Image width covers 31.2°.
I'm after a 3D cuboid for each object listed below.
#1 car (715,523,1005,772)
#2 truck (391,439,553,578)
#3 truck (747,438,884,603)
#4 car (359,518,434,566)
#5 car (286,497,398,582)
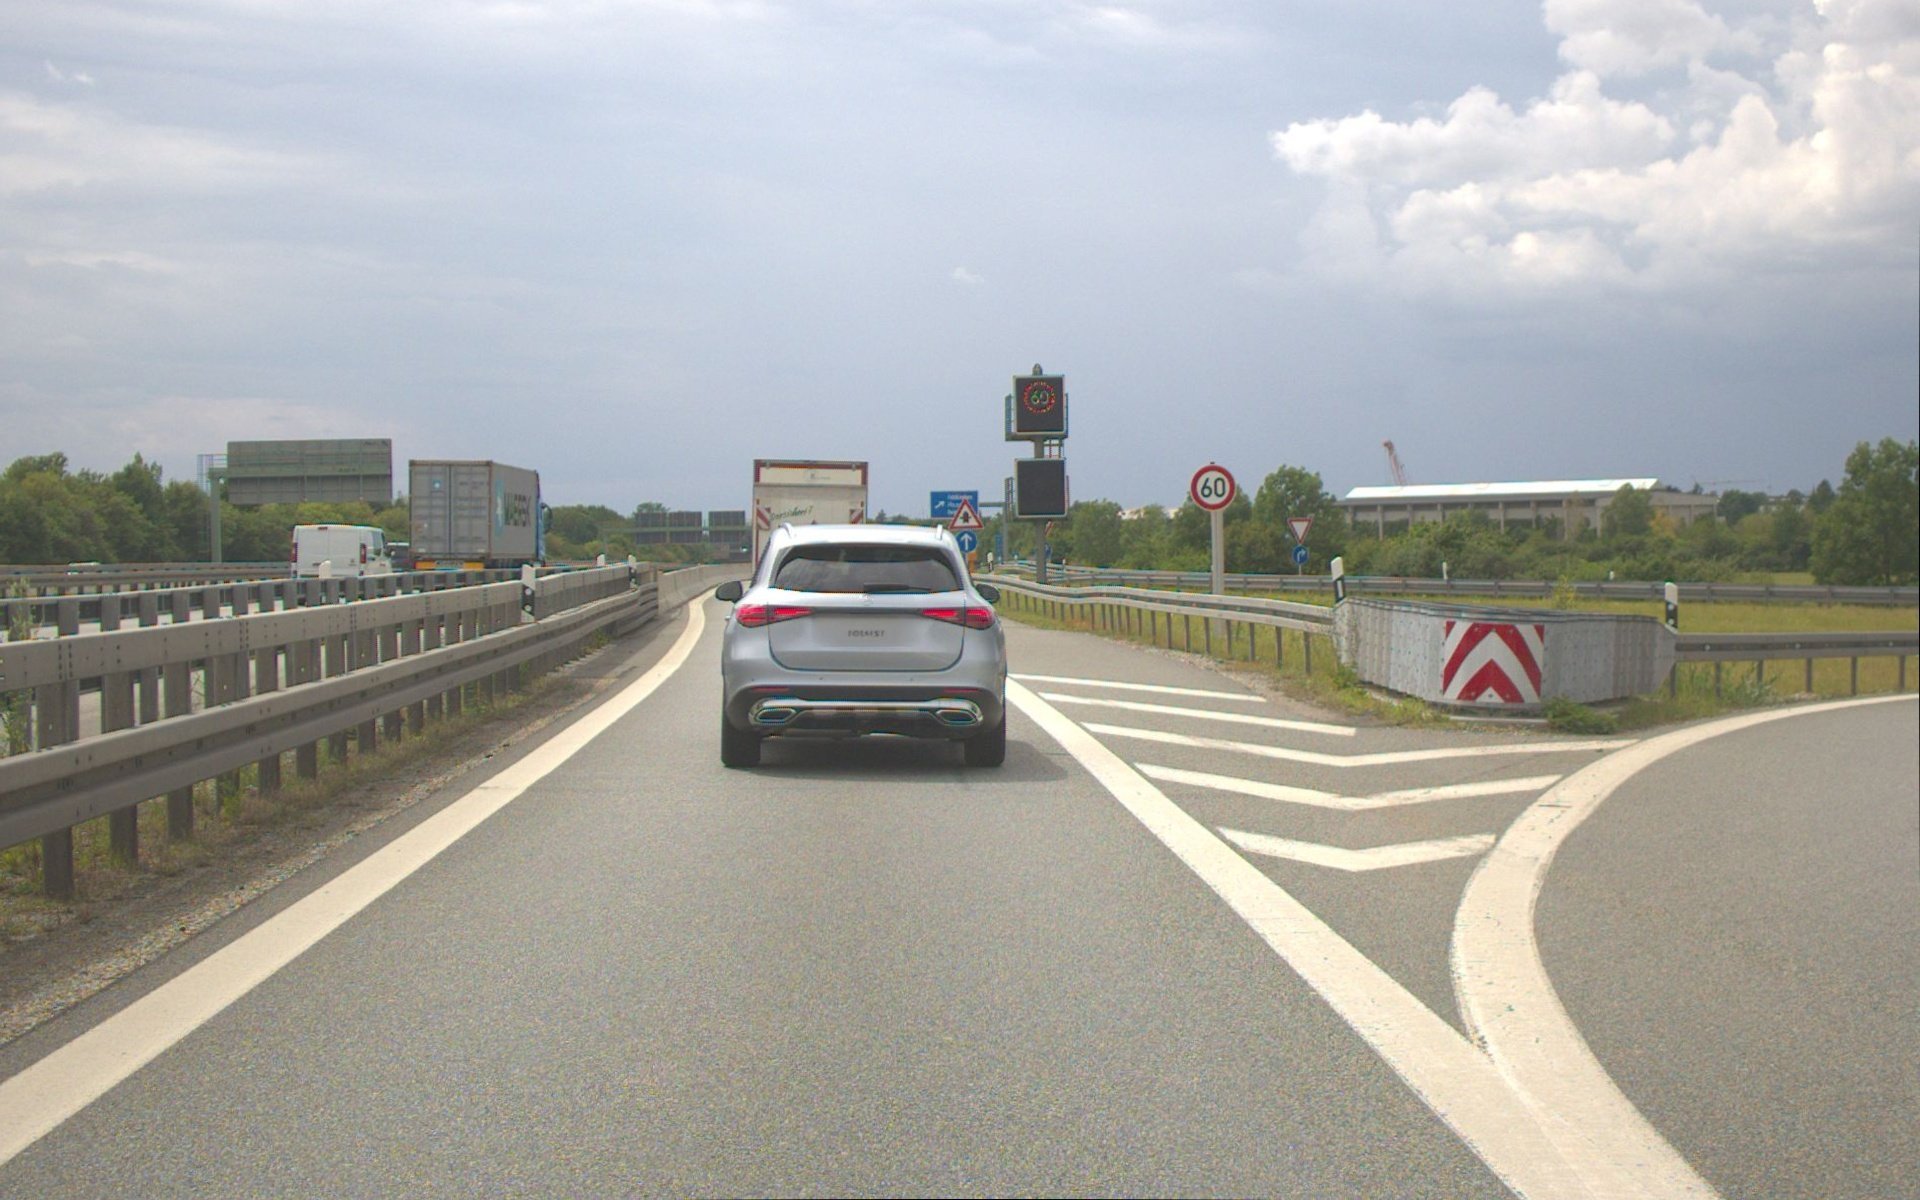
[{"bbox_3d":[-0.648,0.255,23.823,1.819,1.509,4.001,1,2,0],"label":"car"},{"bbox_3d":[-15.217,-2.954,108.564,3.183,4.005,16.077,1,2,-1],"label":"truck"},{"bbox_3d":[-2.927,-1.561,69.929,2.568,3.115,8.635,1,1,-2],"label":"truck"},{"bbox_3d":[-19.389,-2.003,118.471,1.881,1.541,4.615,1,2,-1],"label":"car"},{"bbox_3d":[-15.205,-1.520,84.796,1.993,2.006,4.375,1,2,0],"label":"car"}]
